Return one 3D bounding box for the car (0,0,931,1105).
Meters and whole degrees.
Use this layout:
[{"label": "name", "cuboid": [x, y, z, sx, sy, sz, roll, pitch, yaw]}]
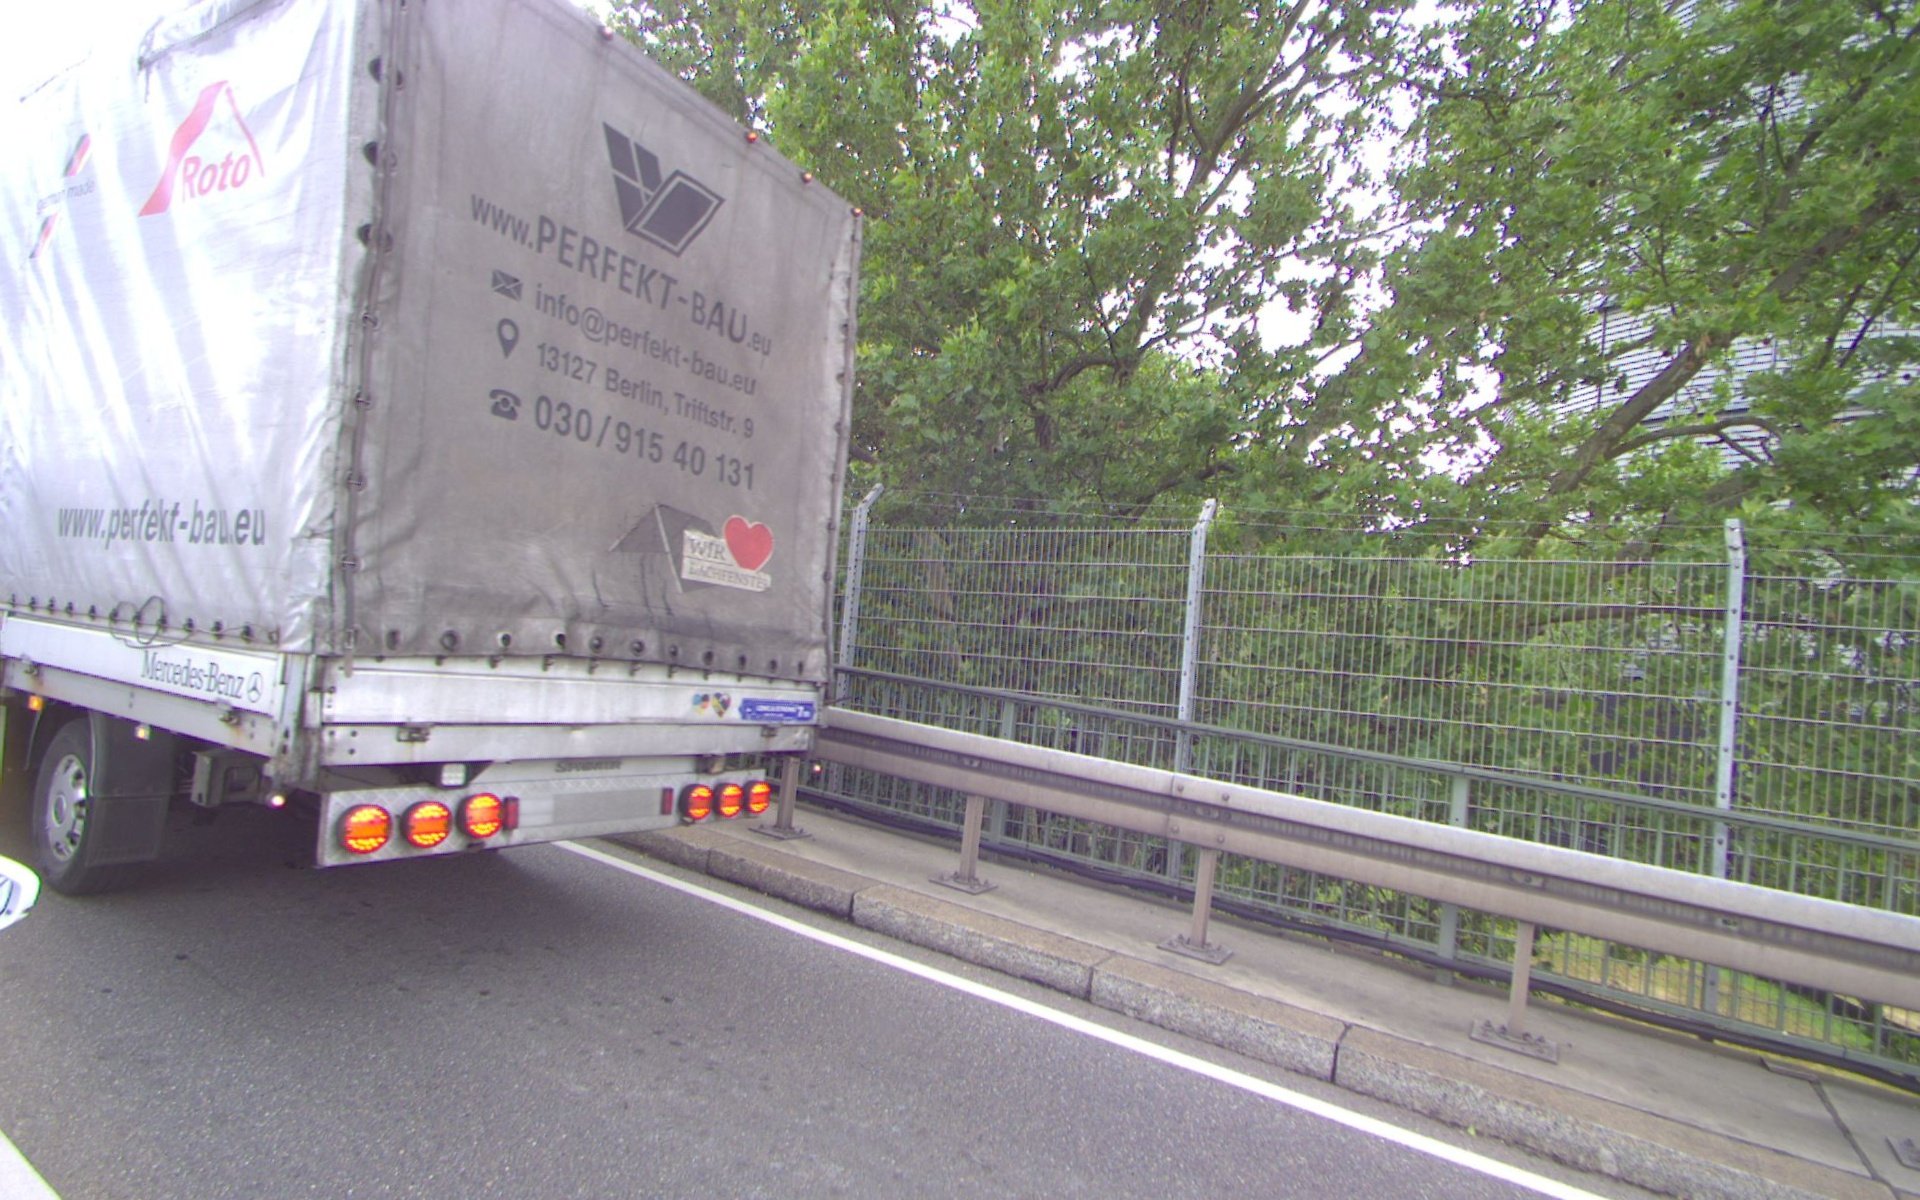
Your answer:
[{"label": "car", "cuboid": [-3.957, -0.588, 5.537, 6.974, 3.369, 2.663, 6, -1, 32]}]
